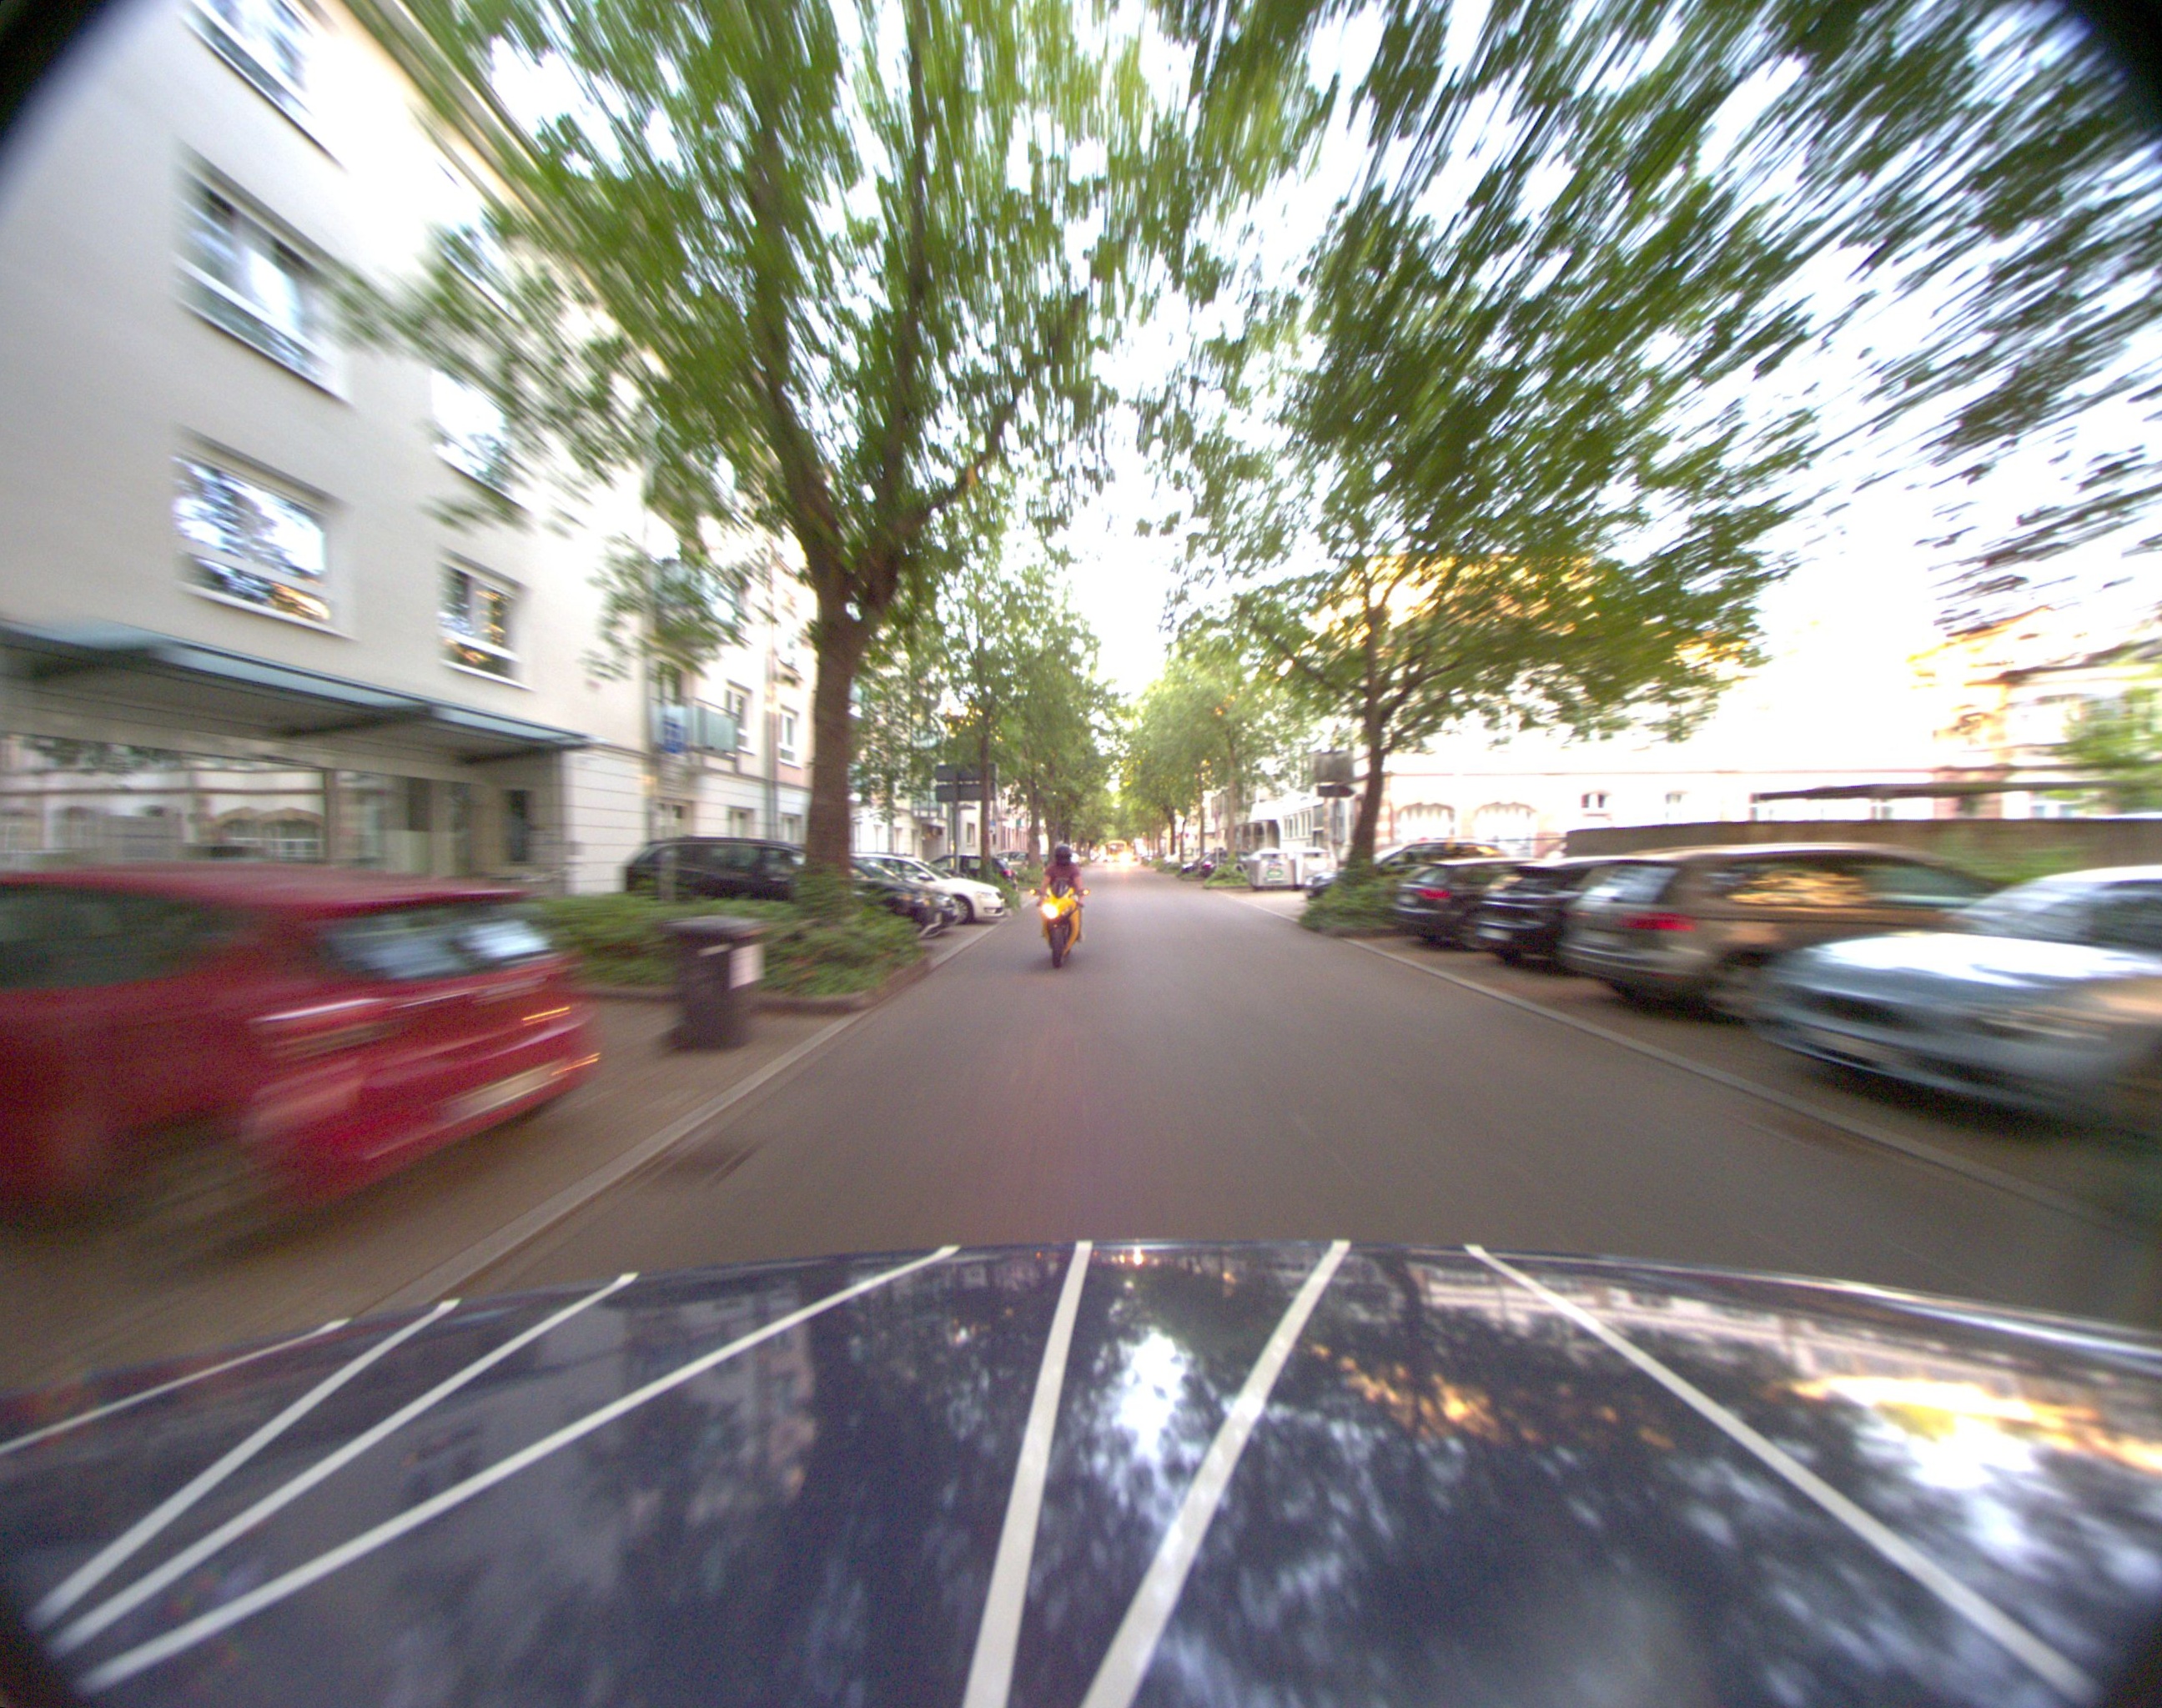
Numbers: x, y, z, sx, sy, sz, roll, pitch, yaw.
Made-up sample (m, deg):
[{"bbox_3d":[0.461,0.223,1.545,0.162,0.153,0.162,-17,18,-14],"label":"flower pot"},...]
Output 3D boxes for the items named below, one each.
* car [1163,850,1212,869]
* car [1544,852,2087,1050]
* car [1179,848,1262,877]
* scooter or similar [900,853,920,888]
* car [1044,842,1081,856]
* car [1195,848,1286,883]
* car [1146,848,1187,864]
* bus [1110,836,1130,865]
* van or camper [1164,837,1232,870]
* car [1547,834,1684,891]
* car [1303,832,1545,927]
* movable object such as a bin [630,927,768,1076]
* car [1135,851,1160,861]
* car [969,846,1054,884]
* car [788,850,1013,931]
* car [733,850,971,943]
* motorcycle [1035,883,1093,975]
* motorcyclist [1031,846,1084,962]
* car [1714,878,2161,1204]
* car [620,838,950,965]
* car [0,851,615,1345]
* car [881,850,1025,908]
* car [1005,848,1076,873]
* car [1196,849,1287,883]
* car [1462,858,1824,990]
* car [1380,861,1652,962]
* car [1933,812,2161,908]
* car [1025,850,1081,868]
[{"bbox_3d":[9.037,0.468,64.915,4.062,1.519,1.622,-1,0,5],"label":"car"},{"bbox_3d":[6.607,0.797,7.164,3.413,1.600,1.761,-1,1,0],"label":"car"},{"bbox_3d":[8.154,0.494,44.588,4.547,1.673,1.621,0,0,-2],"label":"car"},{"bbox_3d":[-6.263,0.588,27.823,0.400,1.233,1.253,-1,1,2],"label":"scooter or similar"},{"bbox_3d":[-1.955,-0.528,79.497,3.859,1.390,1.675,1,0,-2],"label":"car"},{"bbox_3d":[7.639,0.547,36.631,3.996,1.582,1.789,-1,0,2],"label":"car"},{"bbox_3d":[9.623,0.237,85.870,4.474,1.748,1.791,0,0,-1],"label":"car"},{"bbox_3d":[5.742,-0.484,112.680,2.832,4.086,7.832,0,0,2],"label":"bus"},{"bbox_3d":[8.683,-0.006,56.747,4.828,2.413,1.945,0,1,2],"label":"van or camper"},{"bbox_3d":[18.739,0.213,26.919,1.786,1.796,4.461,-1,2,2],"label":"car"},{"bbox_3d":[7.416,0.533,16.796,4.429,1.881,2.000,-1,0,1],"label":"car"},{"bbox_3d":[-3.015,1.148,6.050,0.776,1.061,0.589,-1,1,1],"label":"movable object such as a bin"},{"bbox_3d":[10.523,0.327,120.876,3.857,1.623,1.675,1,0,2],"label":"car"},{"bbox_3d":[-3.350,0.510,37.190,3.871,1.657,1.926,2,1,2],"label":"car"},{"bbox_3d":[-3.935,0.777,17.090,4.583,1.543,1.772,2,1,1],"label":"car"},{"bbox_3d":[-4.298,0.764,14.645,3.995,1.516,1.727,2,1,4],"label":"car"},{"bbox_3d":[-0.233,1.029,11.032,0.736,1.115,2.108,-1,0,-1],"label":"motorcycle"},{"bbox_3d":[-0.327,0.689,10.977,0.722,1.605,0.915,-1,1,-1],"label":"motorcyclist"},{"bbox_3d":[6.489,0.892,4.438,4.110,1.371,1.747,-2,1,0],"label":"car"},{"bbox_3d":[-4.441,0.686,11.953,4.395,1.694,1.895,2,1,-1],"label":"car"},{"bbox_3d":[-4.593,0.865,3.564,3.673,1.539,1.780,3,2,0],"label":"car"},{"bbox_3d":[-3.795,0.729,23.093,3.998,1.466,1.913,3,0,-2],"label":"car"},{"bbox_3d":[-2.651,0.434,50.317,4.366,1.461,1.732,2,1,7],"label":"car"},{"bbox_3d":[7.657,0.558,36.543,3.997,1.579,1.828,-1,0,0],"label":"car"},{"bbox_3d":[6.996,0.822,9.733,3.413,1.498,1.664,-1,1,0],"label":"car"},{"bbox_3d":[6.770,0.857,12.069,3.413,1.434,1.594,-1,1,0],"label":"car"},{"bbox_3d":[22.923,0.148,17.457,1.786,1.944,4.417,-1,-1,2],"label":"car"},{"bbox_3d":[-2.351,0.412,65.163,4.593,1.461,1.696,1,1,3],"label":"car"}]
